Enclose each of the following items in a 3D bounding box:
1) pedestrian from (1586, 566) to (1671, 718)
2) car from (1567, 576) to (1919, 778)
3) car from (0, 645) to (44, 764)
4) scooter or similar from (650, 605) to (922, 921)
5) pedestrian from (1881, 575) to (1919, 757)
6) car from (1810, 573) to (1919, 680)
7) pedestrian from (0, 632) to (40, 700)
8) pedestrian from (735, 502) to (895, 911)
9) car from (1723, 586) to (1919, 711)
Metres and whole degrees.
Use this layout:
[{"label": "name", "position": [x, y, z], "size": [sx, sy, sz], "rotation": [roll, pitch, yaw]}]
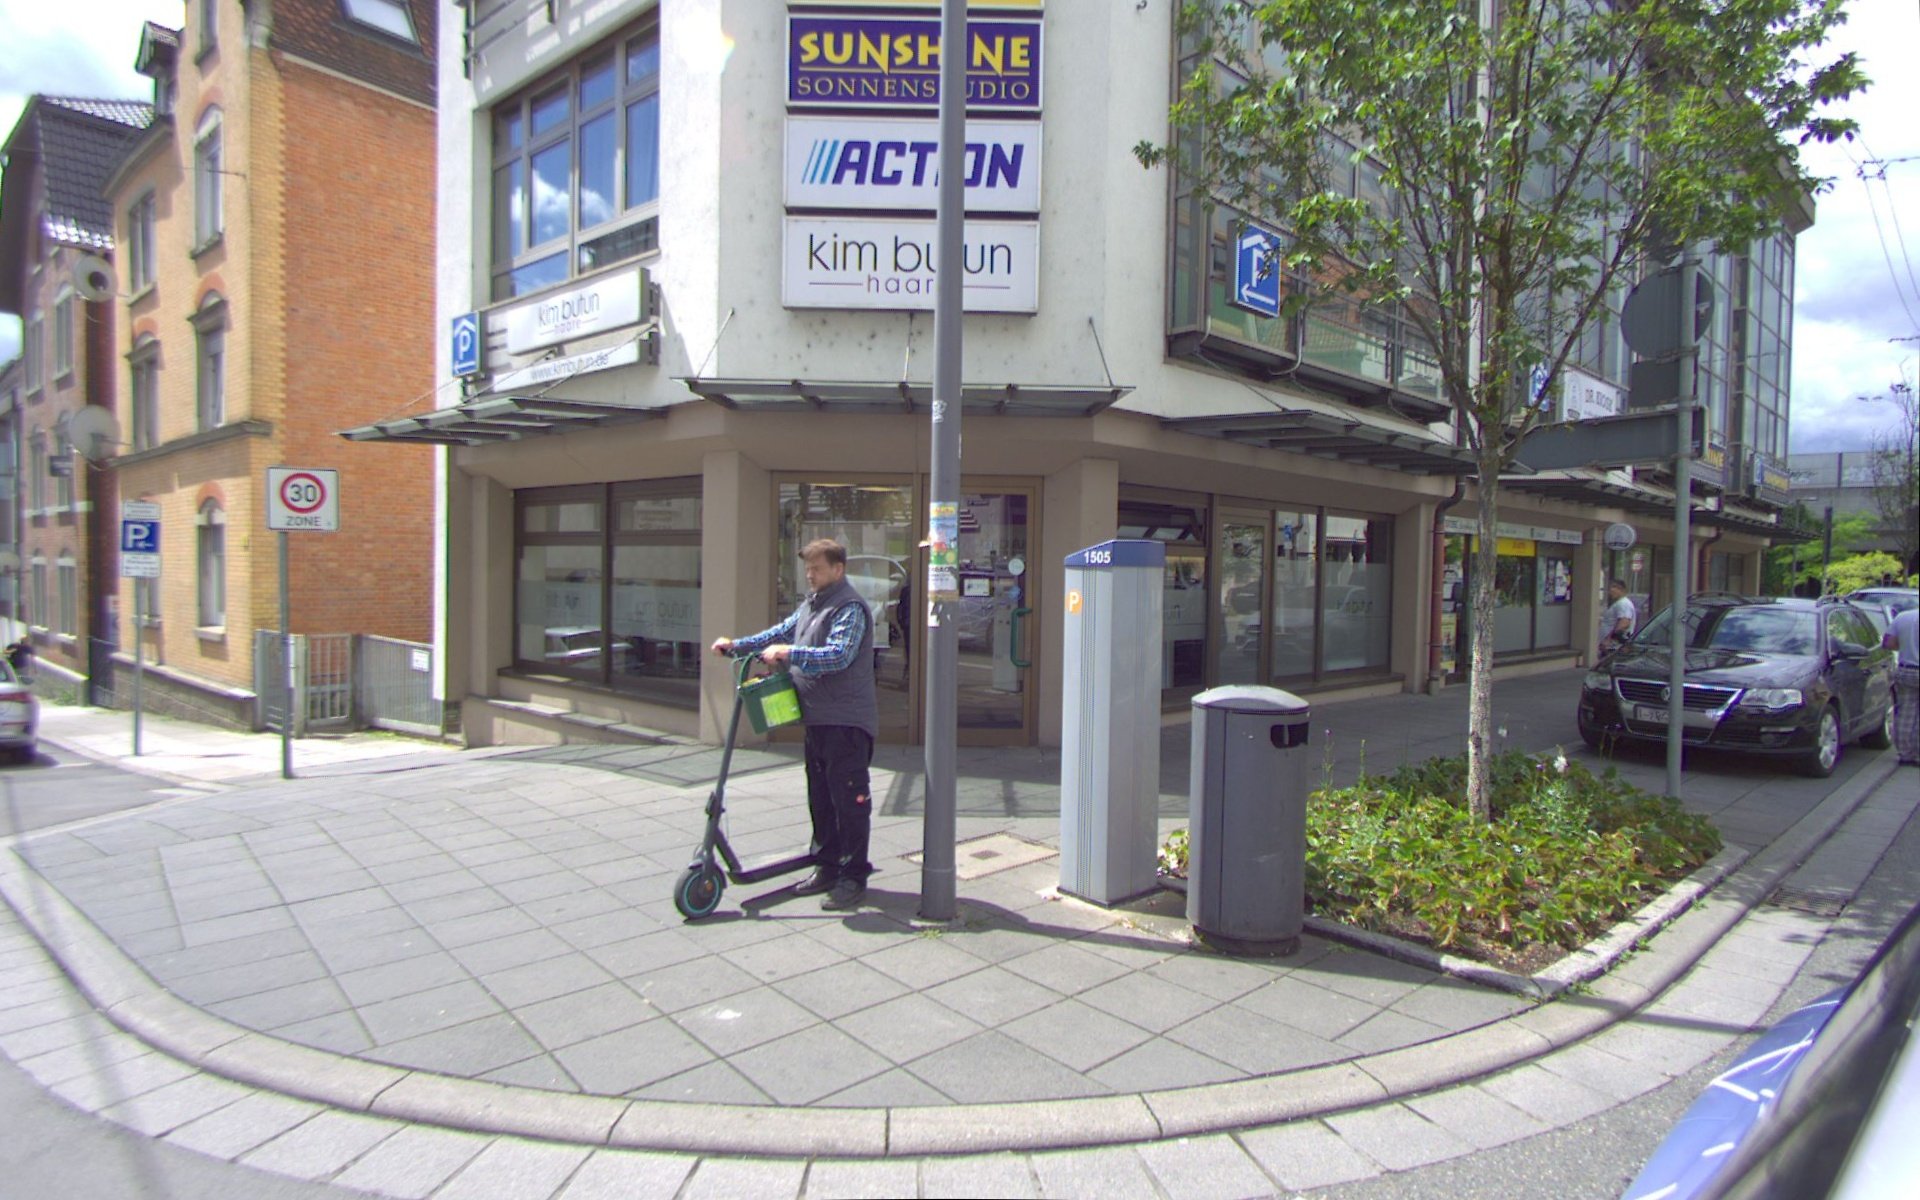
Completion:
[{"label": "pedestrian", "position": [7.222, 0.435, 10.938], "size": [0.469, 1.582, 0.661], "rotation": [-1, 0, -40]}, {"label": "car", "position": [7.527, 0.544, 9.538], "size": [4.471, 1.472, 1.719], "rotation": [0, 1, -40]}, {"label": "car", "position": [-13.319, 1.316, 13.074], "size": [3.875, 1.417, 1.821], "rotation": [-3, -3, 42]}, {"label": "scooter or similar", "position": [-0.794, 0.684, 4.809], "size": [1.228, 1.296, 0.431], "rotation": [-1, 0, -42]}, {"label": "pedestrian", "position": [8.778, 0.586, 9.069], "size": [0.537, 1.620, 0.586], "rotation": [-1, 0, -20]}, {"label": "car", "position": [16.931, 0.419, 17.985], "size": [4.384, 1.681, 1.827], "rotation": [0, 3, -38]}, {"label": "pedestrian", "position": [-24.099, 1.662, 25.794], "size": [0.941, 1.677, 0.841], "rotation": [-2, -2, 41]}, {"label": "pedestrian", "position": [-0.668, 0.444, 4.641], "size": [0.473, 1.724, 0.571], "rotation": [-1, 0, -43]}, {"label": "car", "position": [12.456, 0.560, 14.279], "size": [4.457, 1.463, 1.855], "rotation": [0, 1, -42]}]
